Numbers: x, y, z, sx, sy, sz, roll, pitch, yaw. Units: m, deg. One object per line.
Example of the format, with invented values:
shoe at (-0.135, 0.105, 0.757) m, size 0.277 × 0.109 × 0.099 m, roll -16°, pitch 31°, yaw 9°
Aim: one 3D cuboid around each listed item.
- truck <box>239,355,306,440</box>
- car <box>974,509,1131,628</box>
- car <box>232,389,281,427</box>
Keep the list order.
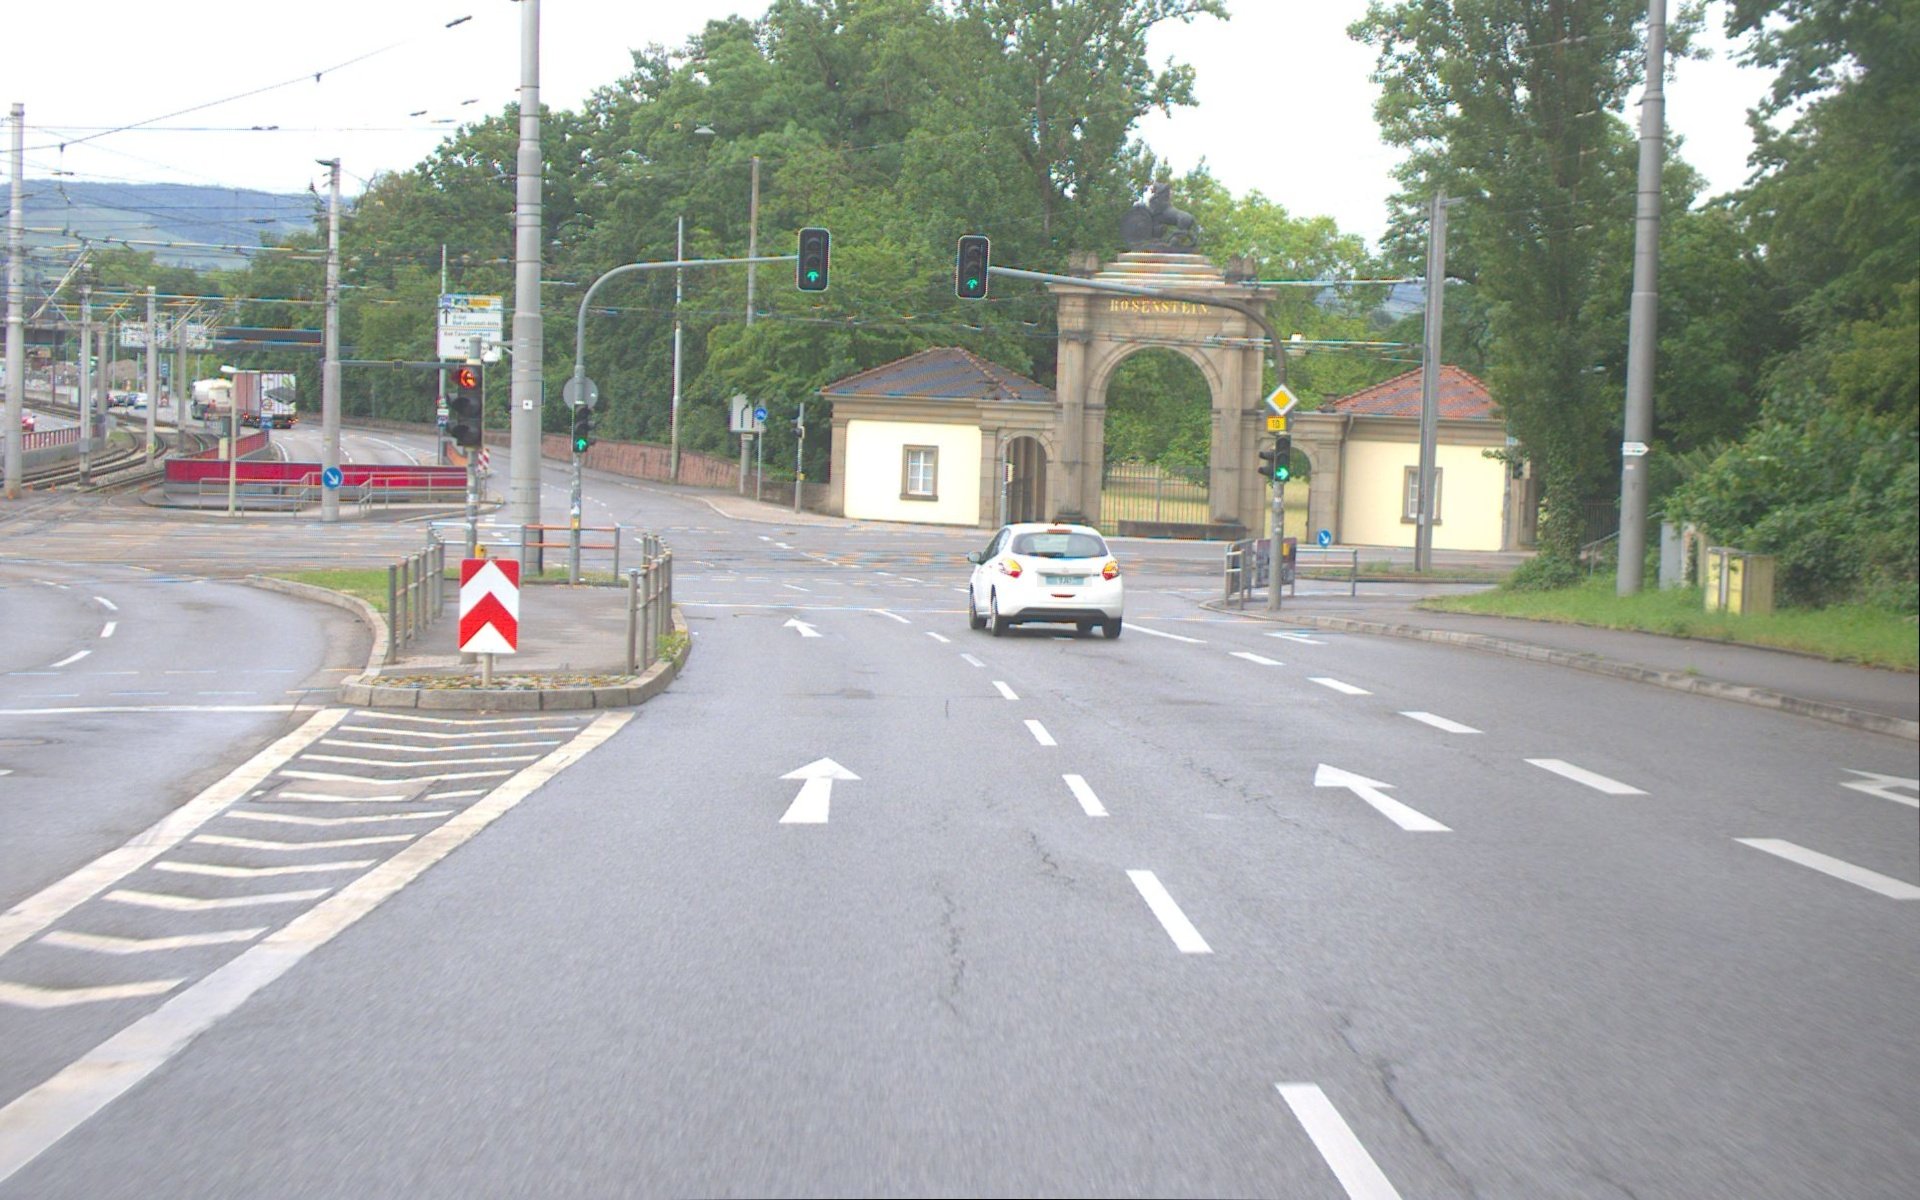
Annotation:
truck at (-49.051, -14.353, 244.997) m, size 3.463 × 5.382 × 12.056 m, roll 1°, pitch 0°, yaw -17°
car at (1.184, -0.415, 45.844) m, size 1.955 × 1.483 × 4.000 m, roll 1°, pitch 0°, yaw 0°
car at (-35.573, -9.707, 173.781) m, size 1.993 × 1.866 × 4.002 m, roll -1°, pitch 3°, yaw -18°
